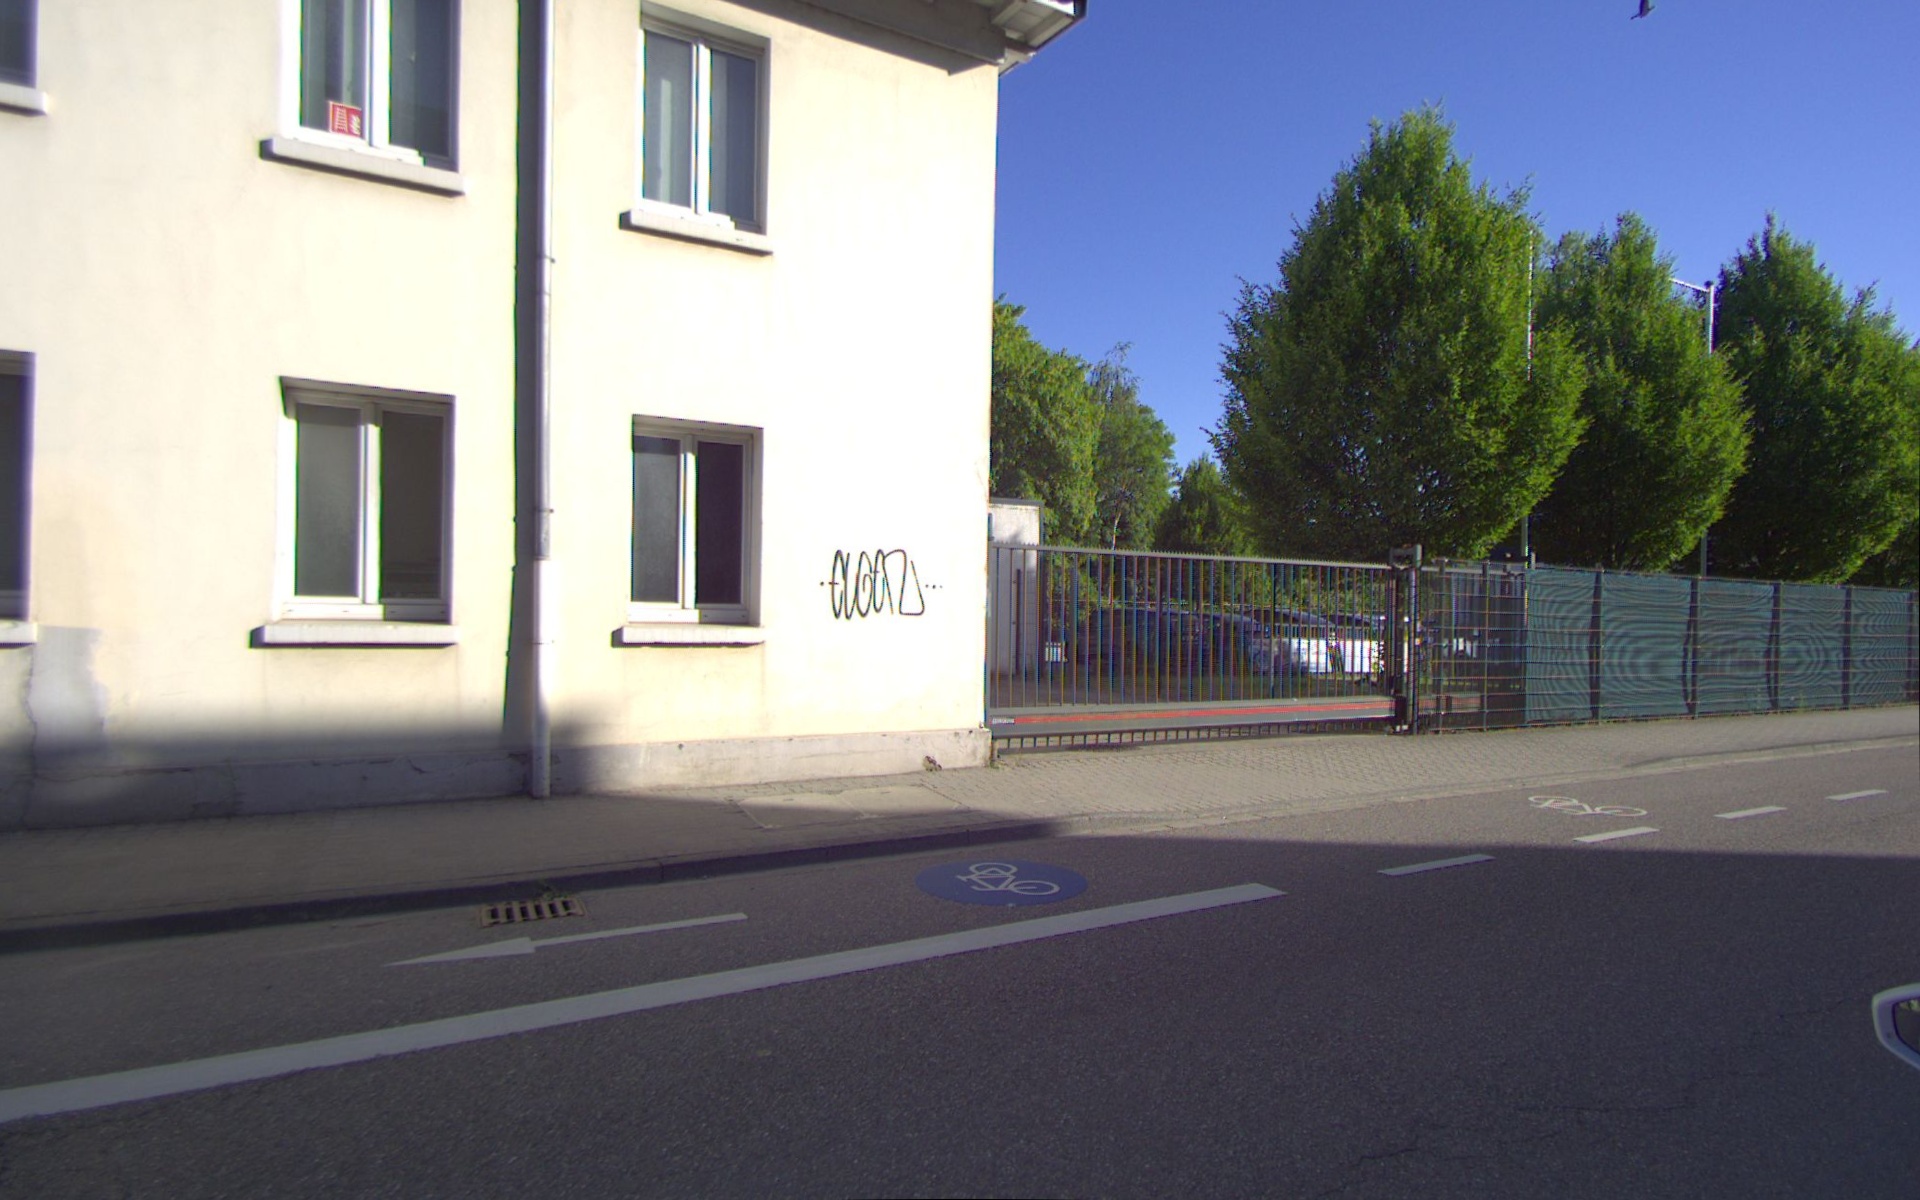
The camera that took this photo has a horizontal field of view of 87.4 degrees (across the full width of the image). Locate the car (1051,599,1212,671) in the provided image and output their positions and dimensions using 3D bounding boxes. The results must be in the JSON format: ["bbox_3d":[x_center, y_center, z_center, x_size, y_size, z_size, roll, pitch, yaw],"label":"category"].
[{"bbox_3d":[4.016,0.826,24.190,1.851,1.561,3.973,1,-2,-27],"label":"car"}]

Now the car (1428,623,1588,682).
[{"bbox_3d":[15.021,1.412,27.525,3.949,1.471,1.986,1,0,-28],"label":"car"}]

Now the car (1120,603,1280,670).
[{"bbox_3d":[6.017,0.919,25.611,1.851,1.561,3.973,1,-2,-27],"label":"car"}]

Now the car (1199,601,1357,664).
[{"bbox_3d":[8.510,0.875,27.207,1.851,1.561,3.973,1,-2,-27],"label":"car"}]

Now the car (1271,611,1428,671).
[{"bbox_3d":[10.954,1.127,28.556,1.851,1.561,3.973,1,-2,-27],"label":"car"}]
